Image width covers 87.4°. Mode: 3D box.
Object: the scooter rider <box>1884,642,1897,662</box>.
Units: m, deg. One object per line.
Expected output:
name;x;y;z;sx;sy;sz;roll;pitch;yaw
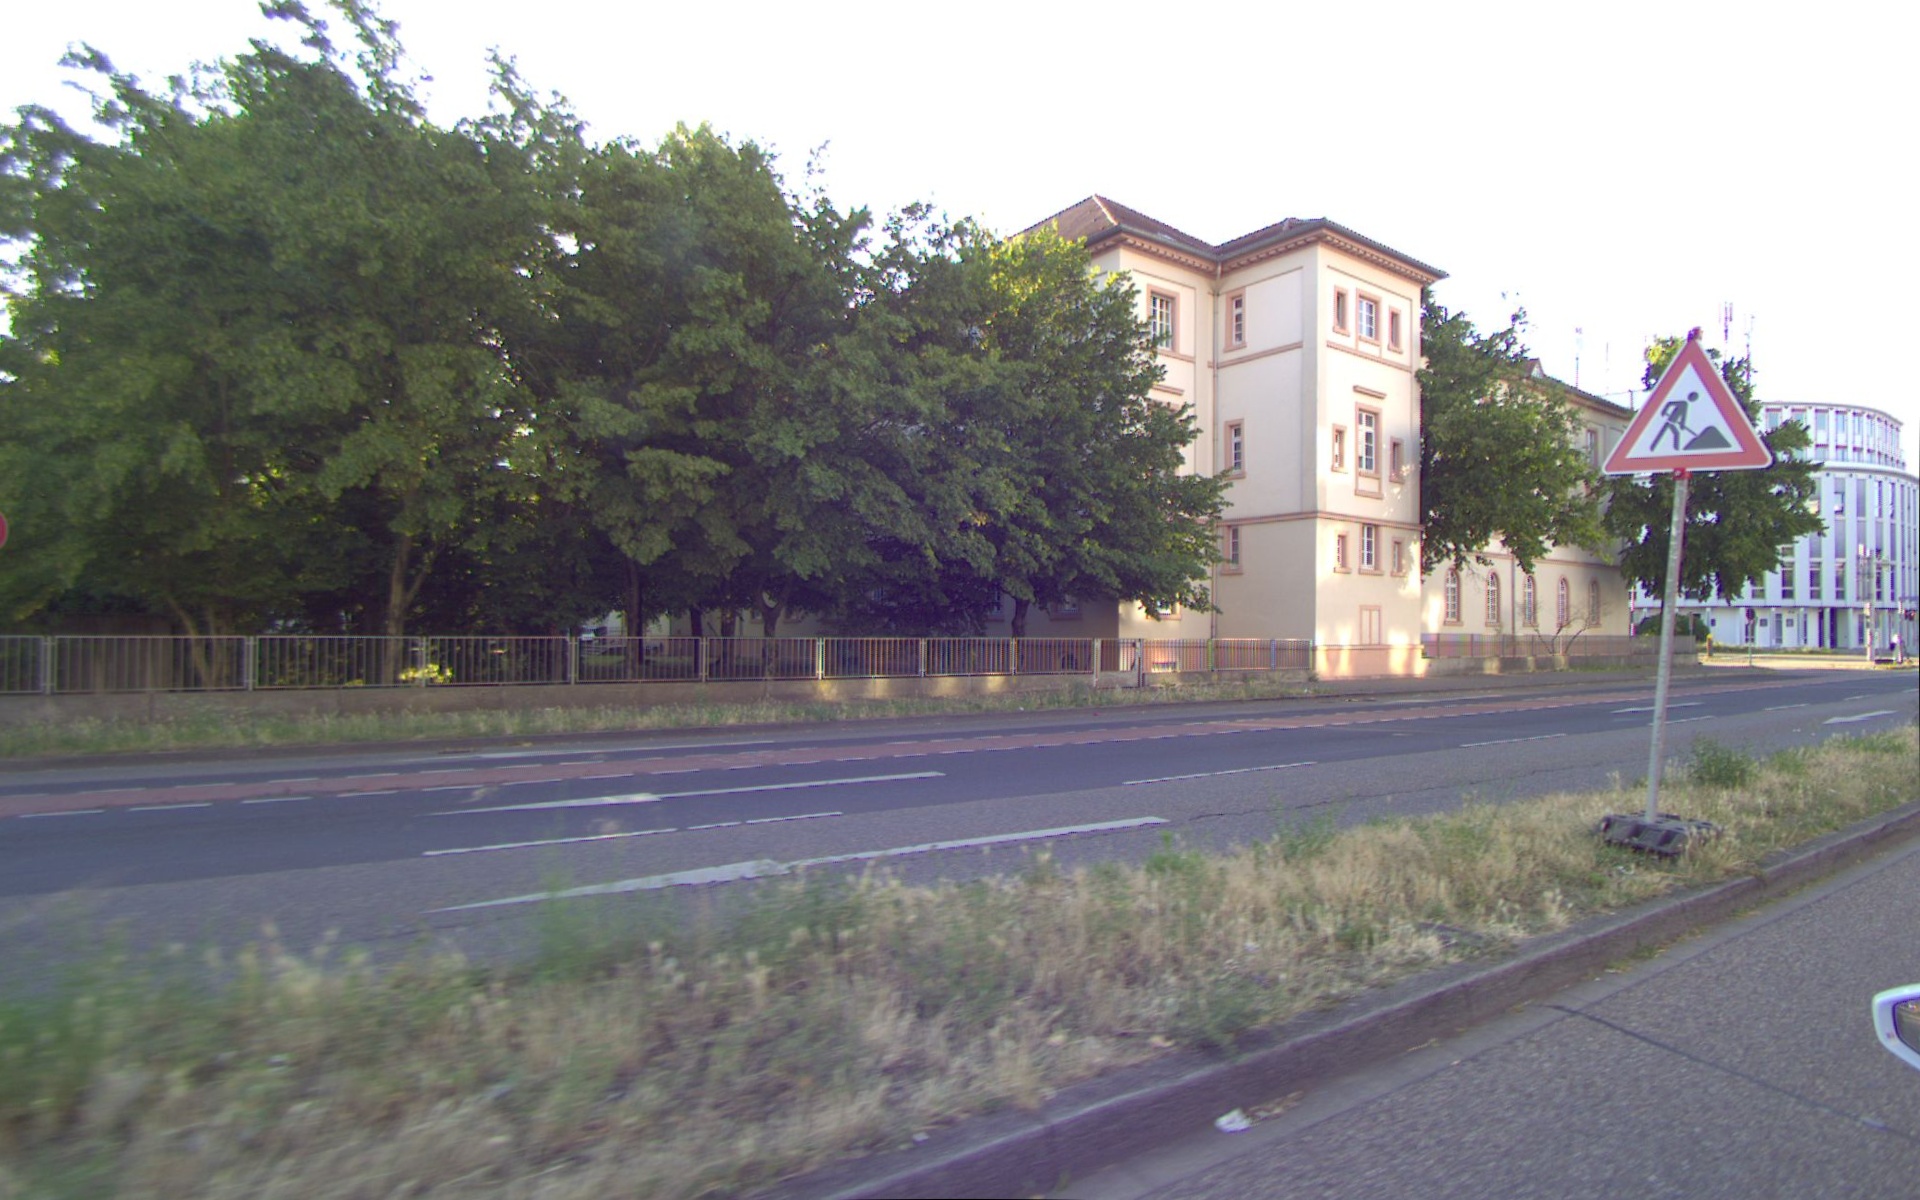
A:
scooter rider;50.340;2.815;54.341;0.503;1.049;0.444;1;0;44

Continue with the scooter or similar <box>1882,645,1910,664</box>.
scooter or similar;50.492;2.928;54.176;1.087;0.989;0.556;1;0;45
